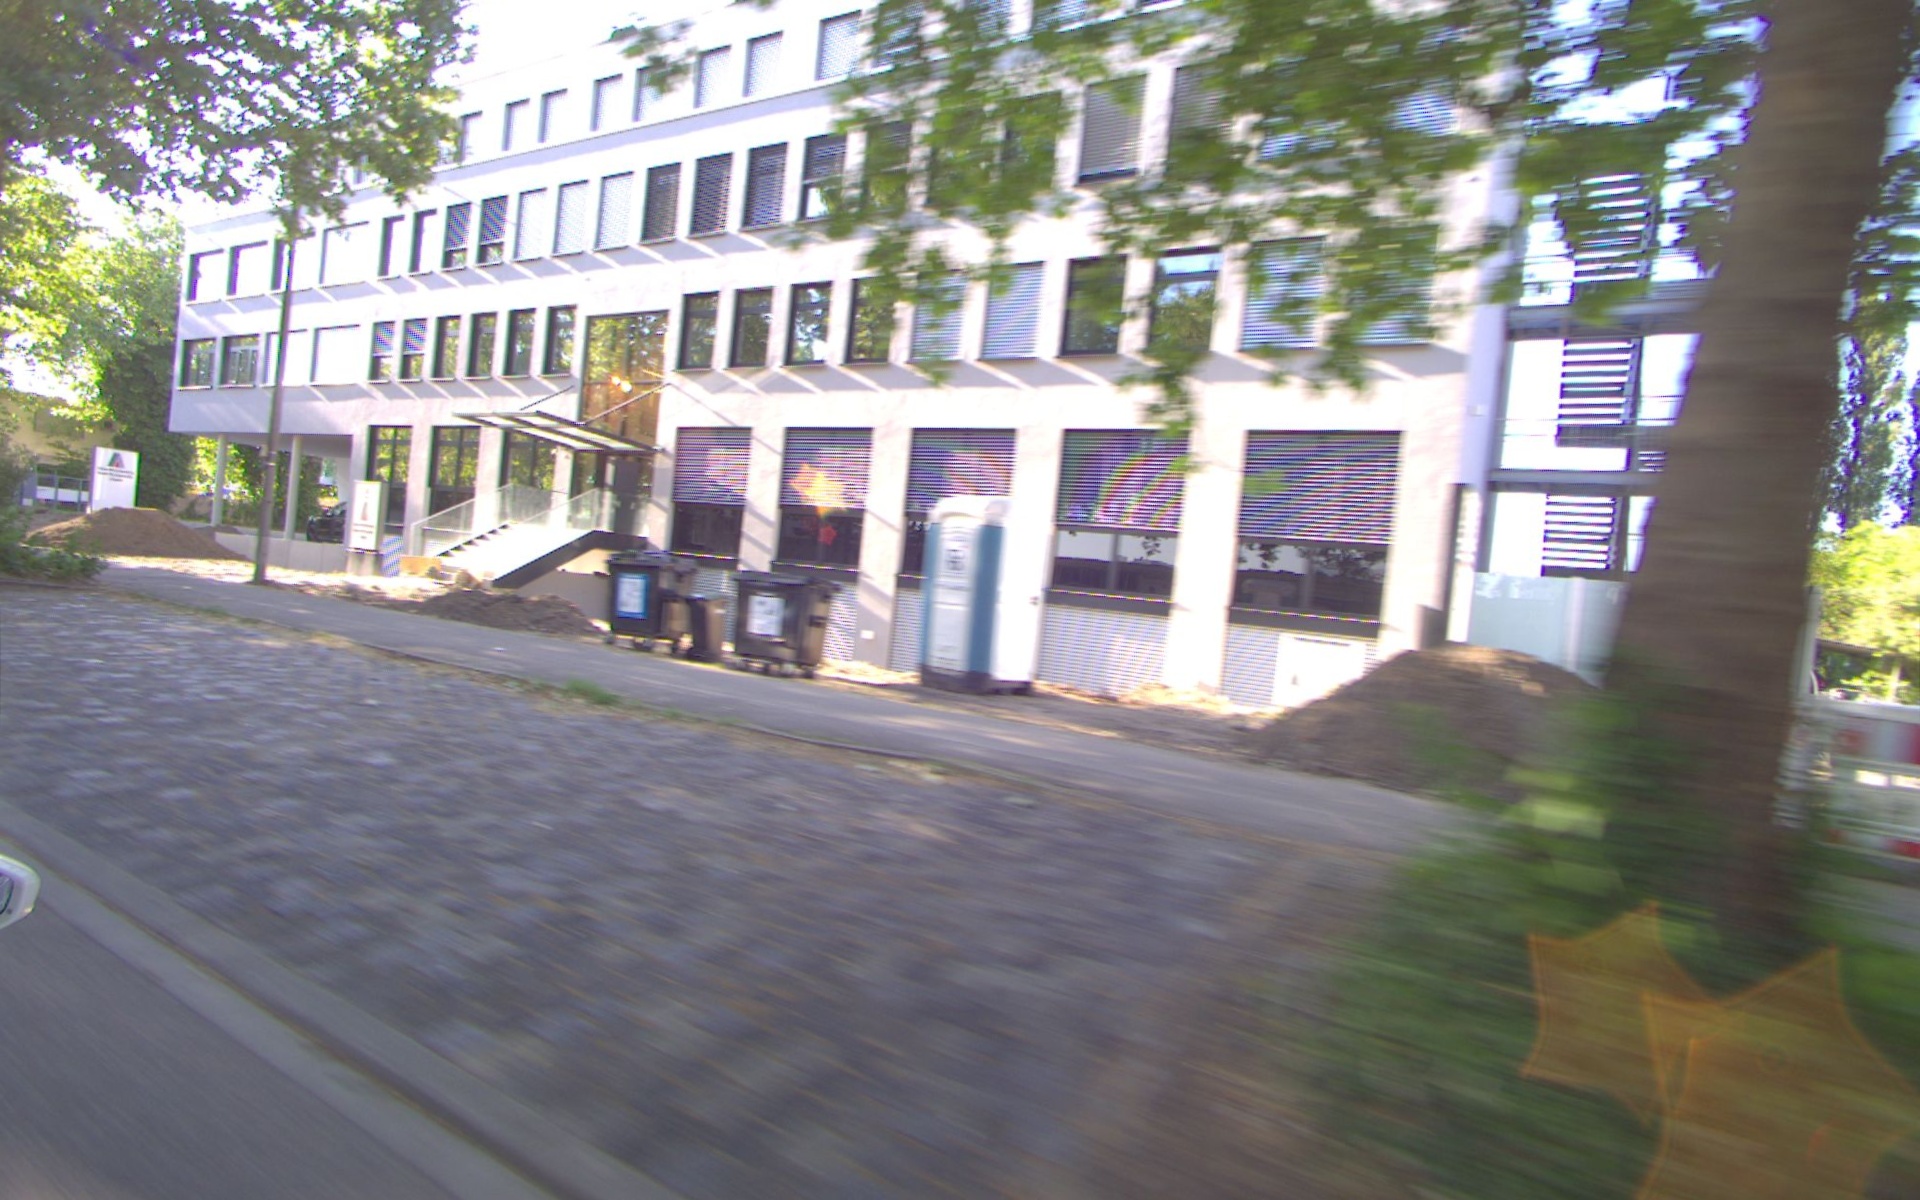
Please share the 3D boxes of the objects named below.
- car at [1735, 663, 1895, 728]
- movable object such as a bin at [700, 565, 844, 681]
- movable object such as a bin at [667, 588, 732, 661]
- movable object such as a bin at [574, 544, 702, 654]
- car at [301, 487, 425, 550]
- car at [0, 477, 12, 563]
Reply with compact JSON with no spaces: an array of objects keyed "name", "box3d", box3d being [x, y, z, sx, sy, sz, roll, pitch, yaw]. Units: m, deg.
[{"name":"car","box3d":[30.541,3.417,36.111,3.933,1.769,1.998,6,-2,31]},{"name":"movable object such as a bin","box3d":[-2.390,0.287,12.749,1.585,1.278,0.749,6,-2,32]},{"name":"movable object such as a bin","box3d":[-3.525,0.334,13.623,0.589,0.911,0.493,6,-2,31]},{"name":"movable object such as a bin","box3d":[-4.566,-0.025,14.254,1.594,1.366,0.749,6,-2,32]},{"name":"car","box3d":[-20.930,-2.870,35.222,4.597,1.751,1.995,5,-2,37]},{"name":"car","box3d":[-18.615,-1.489,16.380,1.829,1.506,4.284,6,3,29]}]
